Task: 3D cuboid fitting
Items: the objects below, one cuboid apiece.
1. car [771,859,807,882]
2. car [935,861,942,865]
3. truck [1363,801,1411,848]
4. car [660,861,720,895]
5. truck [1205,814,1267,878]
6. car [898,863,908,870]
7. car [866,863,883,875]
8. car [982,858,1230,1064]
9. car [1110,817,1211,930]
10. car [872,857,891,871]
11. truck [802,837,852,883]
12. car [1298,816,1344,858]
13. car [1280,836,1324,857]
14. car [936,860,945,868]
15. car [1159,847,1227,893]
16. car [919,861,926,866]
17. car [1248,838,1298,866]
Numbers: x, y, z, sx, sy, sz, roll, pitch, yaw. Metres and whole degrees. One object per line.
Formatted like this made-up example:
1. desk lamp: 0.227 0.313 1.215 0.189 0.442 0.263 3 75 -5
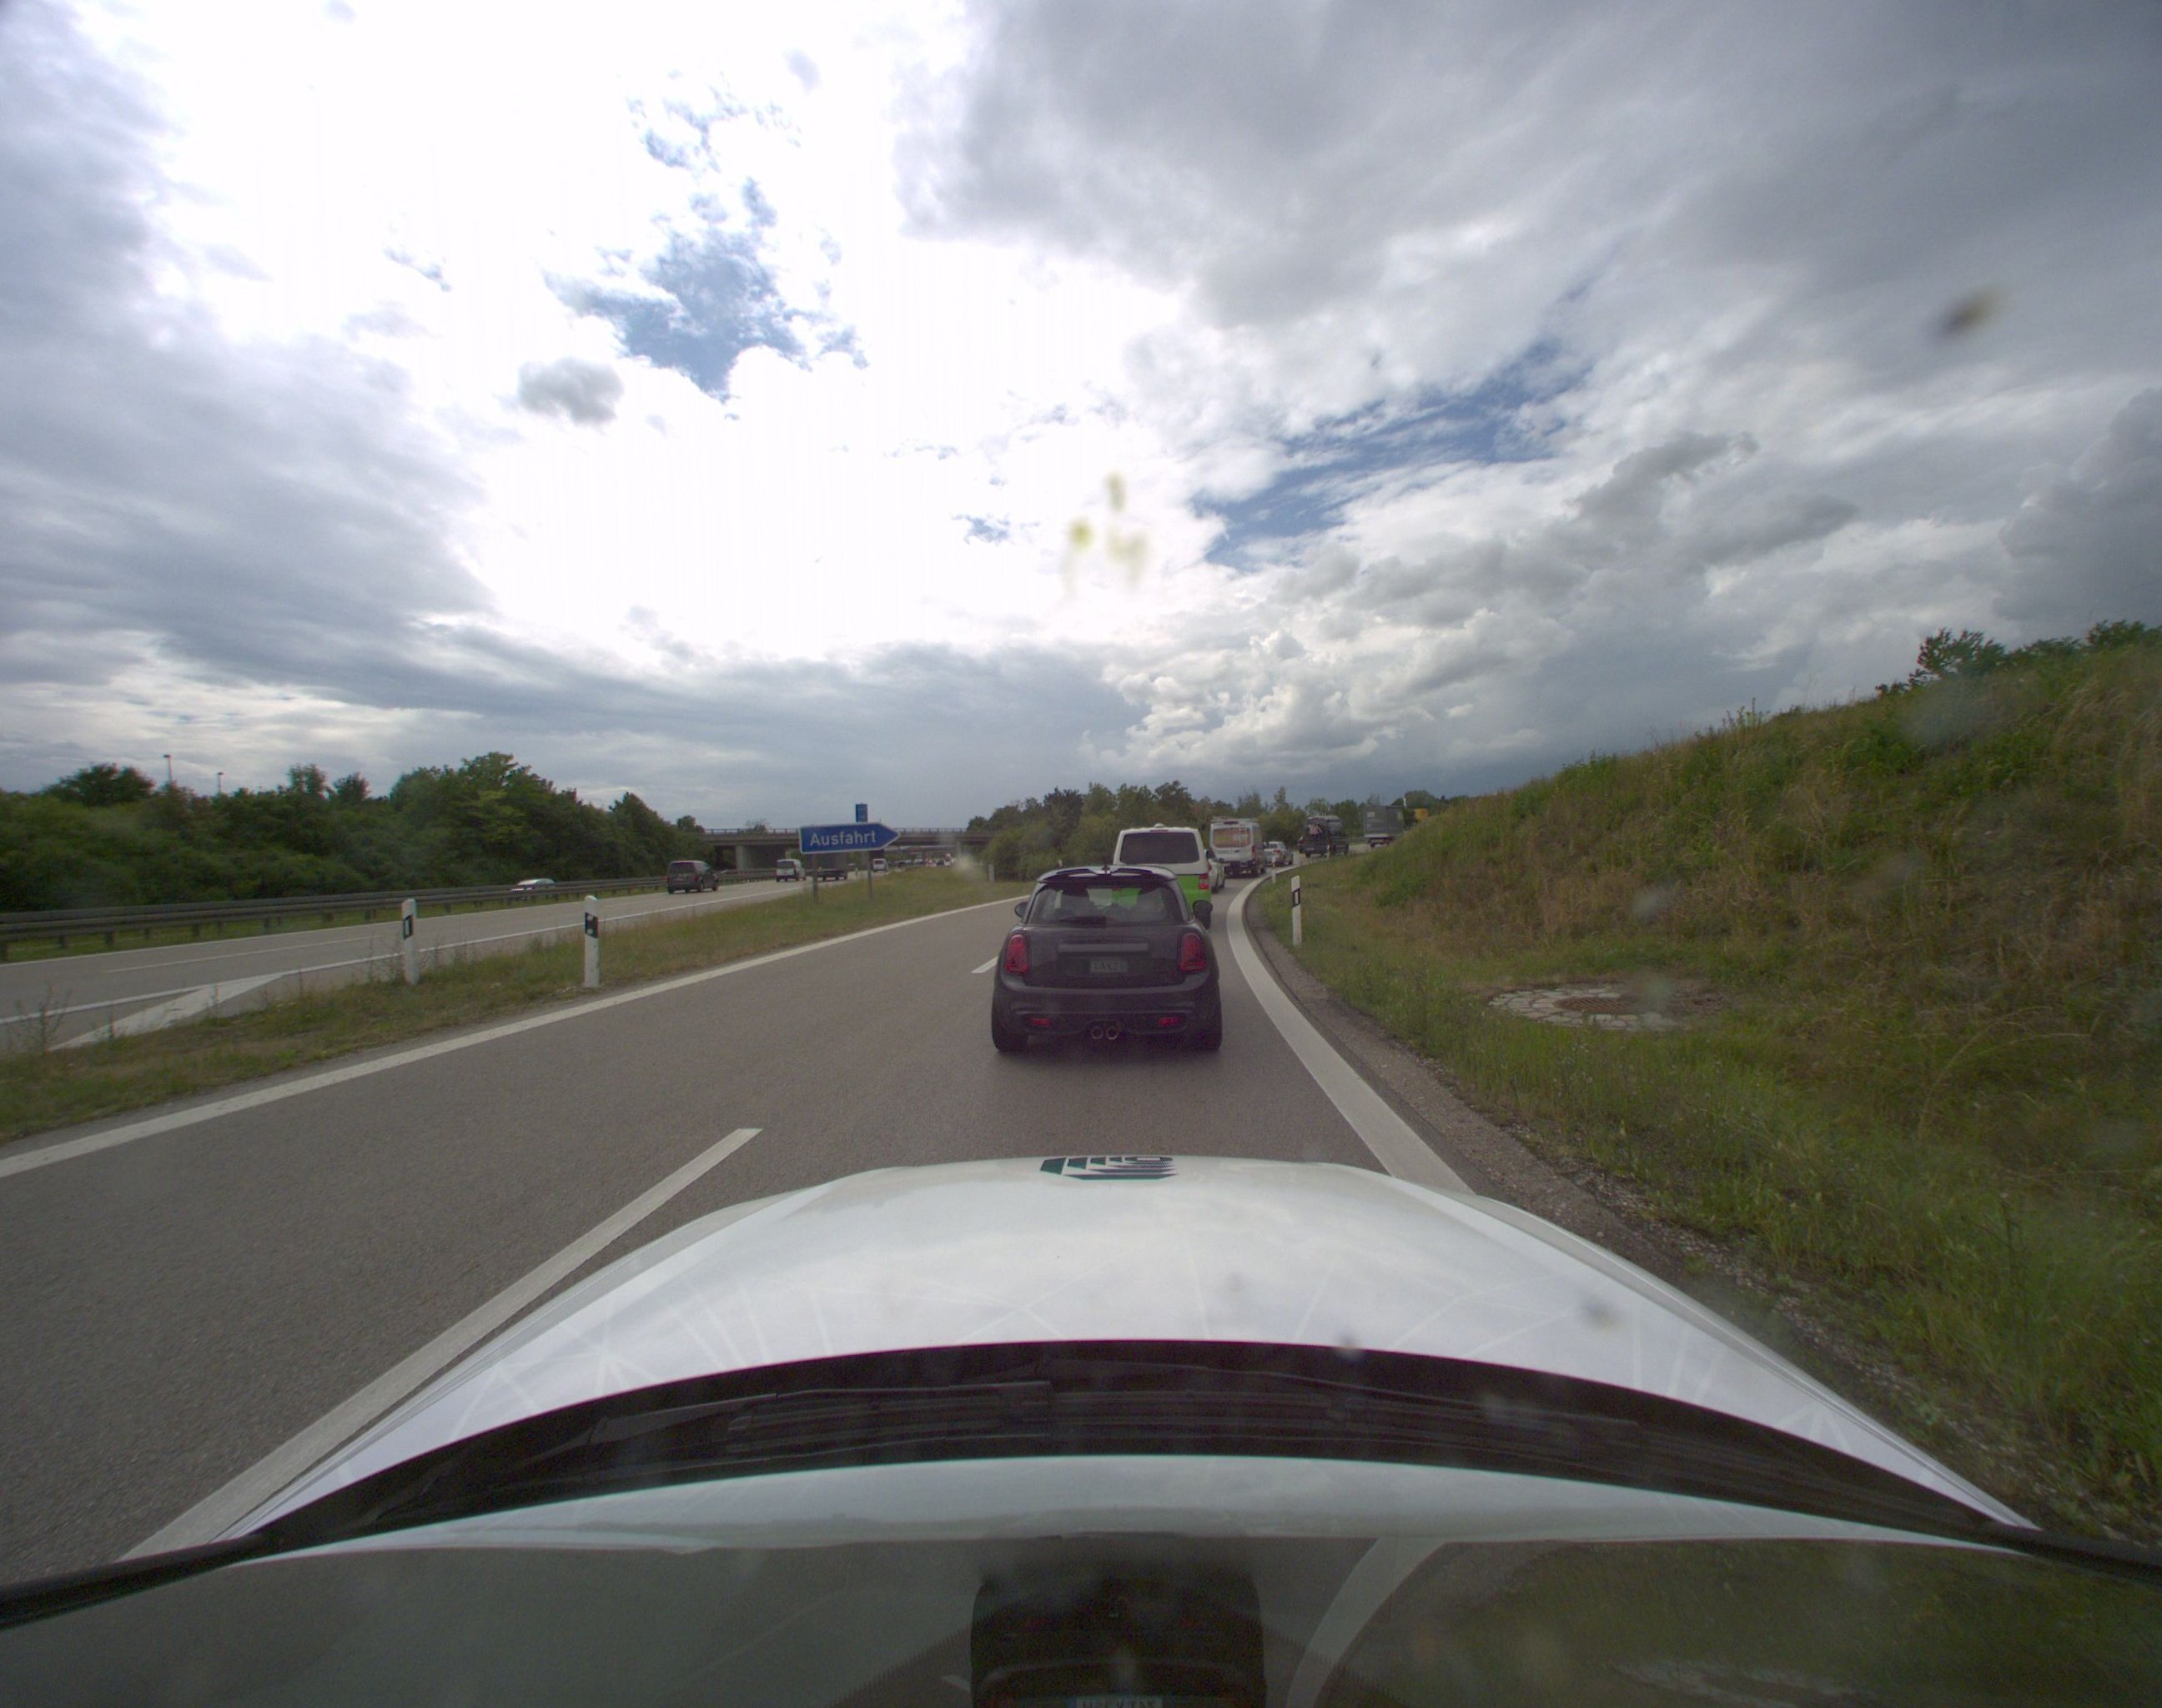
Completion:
1. car: -24.887 1.367 69.505 1.992 1.810 3.989 -2 0 -8
2. car: -45.011 2.834 257.219 1.778 1.399 4.540 -2 0 -7
3. truck: 27.419 -2.525 72.832 2.207 3.907 6.054 -1 -1 38
4. car: -22.261 1.329 46.523 1.844 1.758 4.323 -2 0 -8
5. truck: 7.155 -0.396 37.111 2.161 2.658 5.131 -2 1 16
6. car: -38.740 2.791 177.472 1.721 1.424 4.784 -2 0 -8
7. car: -33.846 2.483 133.730 1.992 1.785 5.397 -2 0 -7
8. car: 0.282 0.768 7.605 1.720 1.413 3.728 -1 0 3
9. car: 1.714 0.358 16.631 1.774 2.013 4.009 -1 0 8
10. car: -26.952 1.351 109.963 1.874 1.751 4.476 -2 0 -7
11. truck: -20.540 0.500 66.278 2.466 3.371 7.900 -3 -1 -8
12. car: 17.017 -1.179 57.673 2.084 2.796 4.025 -1 0 32
13. car: 17.512 -0.614 64.470 1.816 1.566 4.526 -2 0 36
14. car: -33.667 2.392 195.220 1.993 2.014 3.987 0 -1 -9
15. car: 3.808 0.500 27.257 1.749 1.399 3.740 -2 0 15
16. car: -49.060 2.914 252.124 1.778 1.399 4.296 -2 0 -7
17. car: 11.138 -0.127 47.139 1.849 1.510 4.024 -2 0 27
